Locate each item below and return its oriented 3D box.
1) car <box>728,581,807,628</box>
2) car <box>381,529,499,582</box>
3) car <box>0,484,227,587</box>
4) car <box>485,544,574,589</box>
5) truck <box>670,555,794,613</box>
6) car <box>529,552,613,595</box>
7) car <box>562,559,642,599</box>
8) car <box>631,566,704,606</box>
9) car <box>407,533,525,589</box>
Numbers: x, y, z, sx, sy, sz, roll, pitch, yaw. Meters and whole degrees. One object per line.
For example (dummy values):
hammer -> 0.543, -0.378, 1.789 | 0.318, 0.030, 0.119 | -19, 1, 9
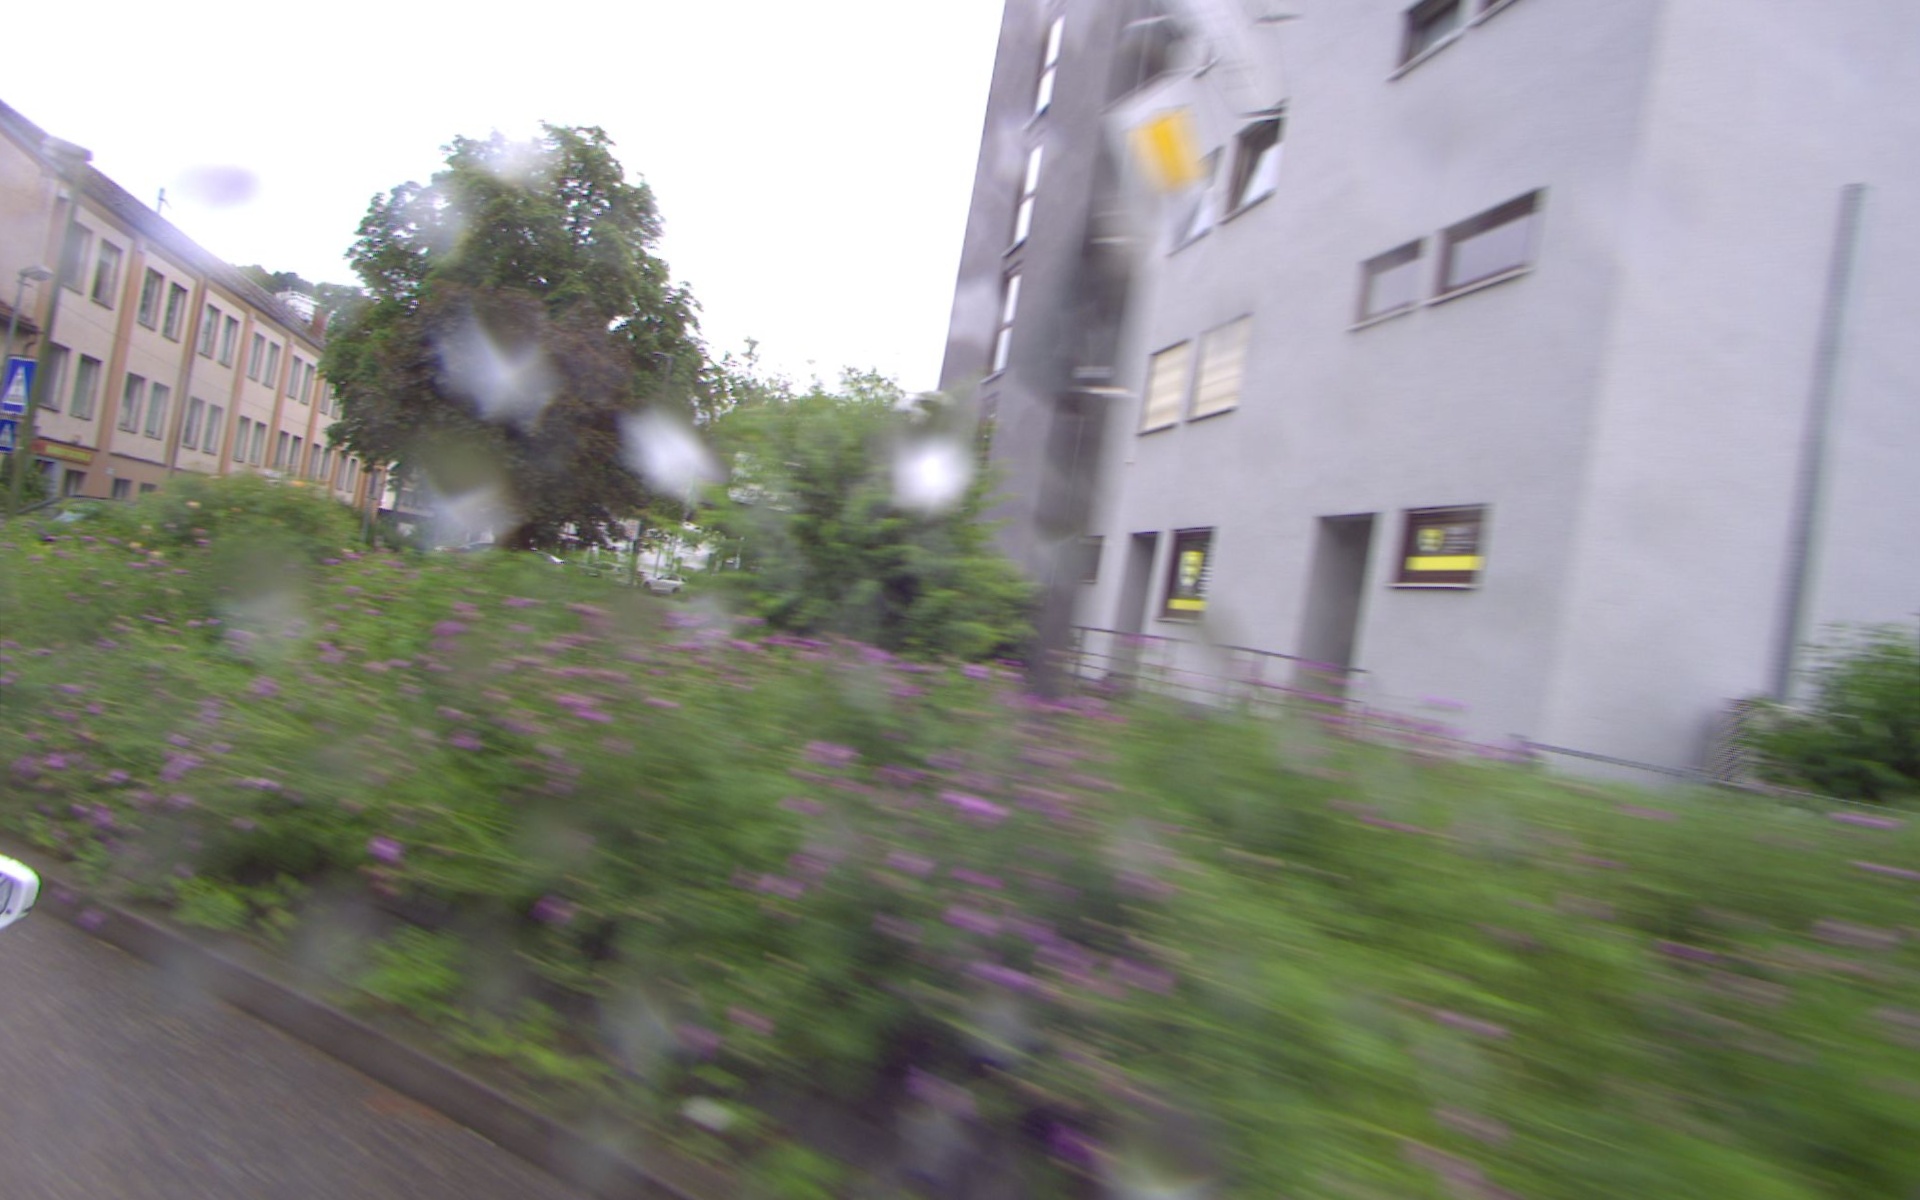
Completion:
car -> -10.771, 0.247, 56.228 | 3.768, 1.854, 1.857 | 9, -3, 29
car -> -22.810, -1.926, 44.186 | 4.377, 1.591, 1.704 | 9, -1, -33
car -> -17.921, -1.316, 20.637 | 1.687, 1.591, 4.422 | 8, -1, 17
car -> -23.360, -1.804, 54.637 | 3.977, 1.685, 1.811 | 9, -3, 14
truck -> -12.259, -0.882, 53.889 | 6.576, 2.303, 2.302 | 7, 0, 31
car -> -22.355, -1.511, 57.899 | 3.977, 1.685, 1.811 | 9, -3, 14
car -> -21.511, -1.263, 60.487 | 3.977, 1.685, 1.811 | 9, -3, 14
car -> -18.850, -0.914, 64.872 | 4.229, 1.896, 1.807 | 8, -3, 29
car -> -19.765, -1.529, 40.424 | 3.850, 1.591, 1.712 | 9, -1, -19
